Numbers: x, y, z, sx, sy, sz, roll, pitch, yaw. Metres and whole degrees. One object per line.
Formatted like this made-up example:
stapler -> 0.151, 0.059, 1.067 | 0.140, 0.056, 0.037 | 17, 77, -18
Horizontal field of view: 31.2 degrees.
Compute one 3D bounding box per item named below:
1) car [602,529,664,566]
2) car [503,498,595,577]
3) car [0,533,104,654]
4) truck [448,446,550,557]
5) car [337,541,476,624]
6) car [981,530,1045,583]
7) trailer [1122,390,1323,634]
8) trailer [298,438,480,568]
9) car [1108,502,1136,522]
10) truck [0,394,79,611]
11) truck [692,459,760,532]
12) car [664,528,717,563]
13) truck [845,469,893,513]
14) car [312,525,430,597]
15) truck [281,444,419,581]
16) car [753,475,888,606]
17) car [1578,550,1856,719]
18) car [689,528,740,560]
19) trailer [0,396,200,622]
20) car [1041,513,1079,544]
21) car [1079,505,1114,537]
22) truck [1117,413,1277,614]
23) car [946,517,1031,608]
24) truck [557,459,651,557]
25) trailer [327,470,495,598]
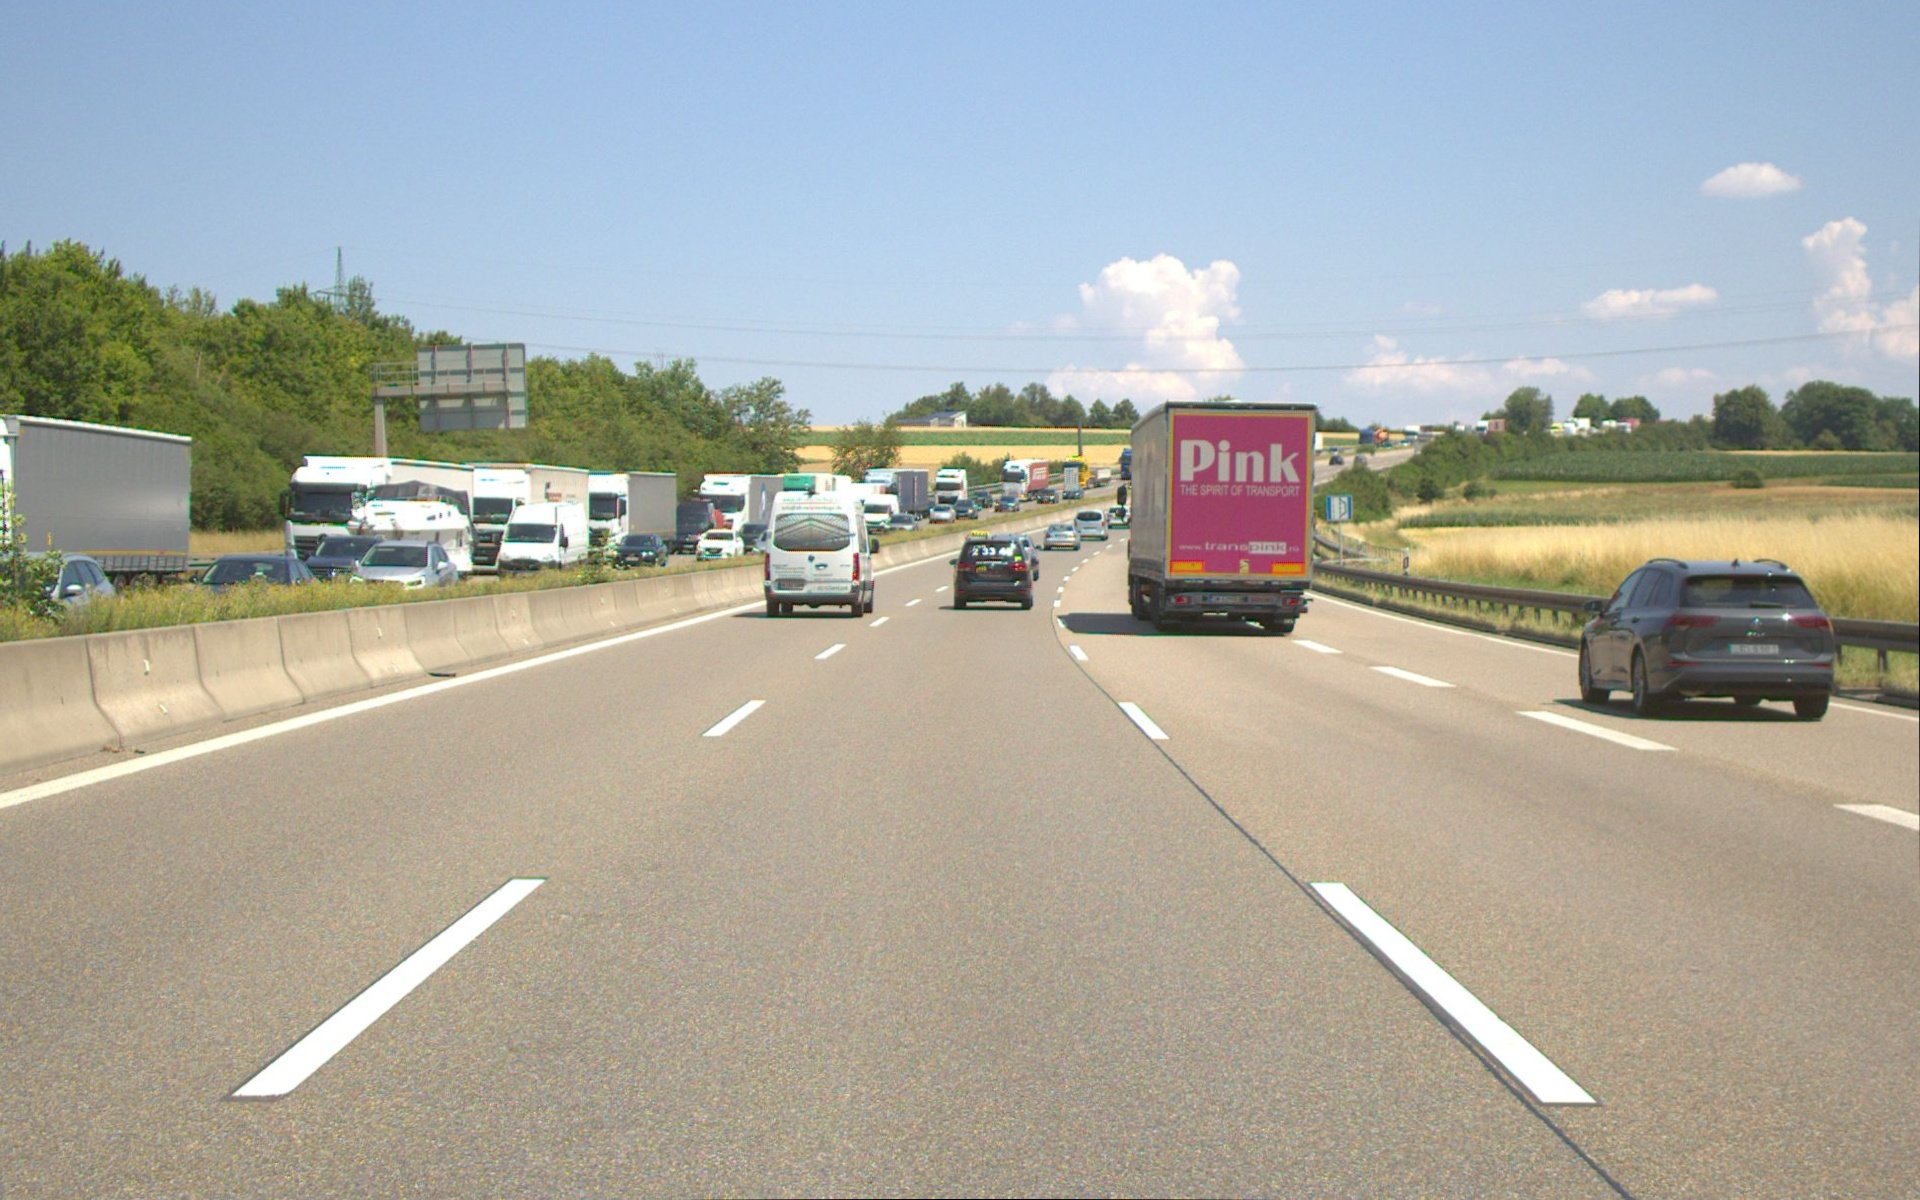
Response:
car -> -13.218, -2.152, 139.303 | 1.876, 1.429, 4.925 | 1, 2, 2
car -> -13.731, -2.117, 115.308 | 1.897, 2.565, 7.572 | 0, 1, 2
car -> -12.395, -0.125, 43.490 | 1.993, 1.440, 4.793 | 0, 1, -1
truck -> -17.213, -3.689, 128.728 | 2.755, 4.029, 6.099 | 1, 2, 2
car -> -11.507, -0.388, 71.767 | 1.842, 1.671, 4.441 | 0, 1, 5
car -> 1.834, -1.484, 117.767 | 1.994, 1.744, 4.000 | 1, 1, 3
trailer -> 4.777, -1.740, 65.259 | 2.918, 4.103, 13.859 | 1, 2, 1
trailer -> -18.060, -3.057, 109.793 | 2.903, 3.860, 13.876 | 0, 1, 3
car -> 11.557, -6.272, 244.992 | 1.994, 1.305, 4.000 | 0, 3, 3
truck -> -19.714, -1.889, 67.332 | 3.199, 4.118, 6.183 | 0, 1, 1
truck -> -13.064, -5.866, 192.282 | 2.853, 4.022, 6.604 | 0, 2, 4
car -> -13.728, -2.767, 175.286 | 1.994, 1.720, 4.406 | 0, 1, 5
truck -> -6.644, -8.014, 251.969 | 2.539, 3.196, 7.588 | 1, 2, 6
car -> -14.423, -0.976, 84.491 | 2.107, 1.717, 4.932 | 0, 1, -1
truck -> -18.305, -2.625, 103.503 | 2.848, 3.993, 5.974 | 0, 1, 3
car -> -2.852, -1.217, 71.505 | 2.180, 2.616, 4.671 | 1, 1, 5
car -> 7.119, 0.285, 32.742 | 1.761, 1.466, 4.536 | 1, 1, 2
car -> -11.349, -2.597, 159.224 | 1.881, 1.469, 4.406 | 0, 1, 2
trailer -> -19.601, -1.906, 73.923 | 3.222, 4.406, 13.780 | 0, 1, 1
car -> 5.299, -3.797, 181.901 | 1.993, 1.579, 4.000 | 0, 2, 1
car -> 8.246, -4.750, 207.784 | 1.994, 1.897, 4.000 | 0, 1, 4
truck -> 4.901, -1.856, 72.231 | 2.916, 3.994, 6.511 | 1, 2, 1
car -> 0.691, -0.886, 79.232 | 1.847, 1.854, 4.206 | 0, 4, 2
truck -> -15.679, -4.039, 151.737 | 2.962, 4.195, 6.603 | 1, 1, 4
trailer -> -14.582, -1.726, 92.191 | 2.869, 3.172, 10.730 | 1, 1, -1
